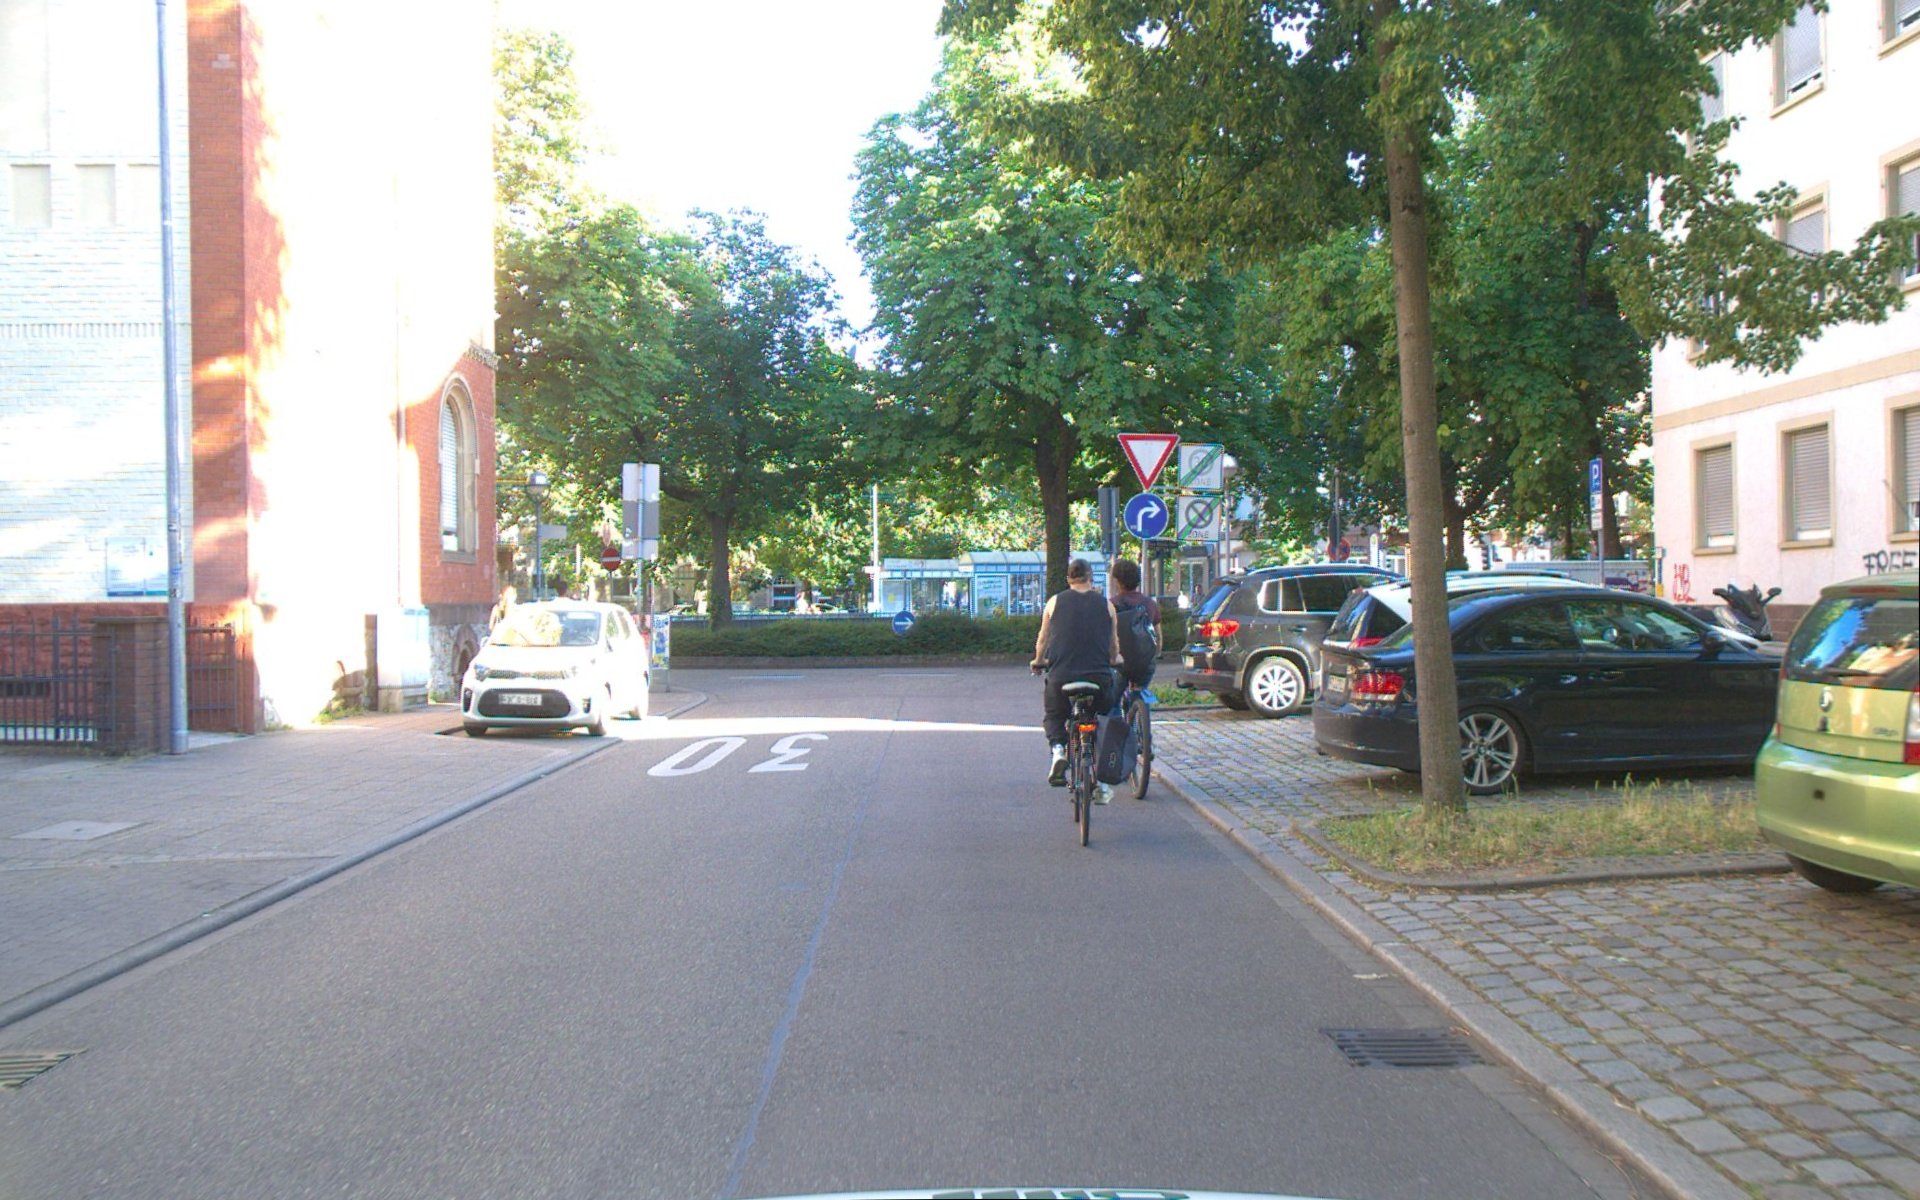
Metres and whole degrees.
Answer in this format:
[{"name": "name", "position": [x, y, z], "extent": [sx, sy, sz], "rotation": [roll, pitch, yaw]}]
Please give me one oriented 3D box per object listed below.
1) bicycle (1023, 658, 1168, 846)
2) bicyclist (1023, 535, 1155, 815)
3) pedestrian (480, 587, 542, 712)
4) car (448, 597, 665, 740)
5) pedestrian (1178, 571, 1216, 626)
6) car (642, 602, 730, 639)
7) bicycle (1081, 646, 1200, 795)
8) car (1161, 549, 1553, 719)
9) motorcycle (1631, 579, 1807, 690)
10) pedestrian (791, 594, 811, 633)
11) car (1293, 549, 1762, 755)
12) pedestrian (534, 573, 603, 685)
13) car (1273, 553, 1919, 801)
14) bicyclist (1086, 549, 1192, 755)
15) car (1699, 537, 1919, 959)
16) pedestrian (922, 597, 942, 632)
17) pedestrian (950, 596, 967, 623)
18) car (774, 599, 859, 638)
[{"name": "bicycle", "position": [0.835, 0.925, 10.706], "extent": [0.722, 1.030, 2.061], "rotation": [1, -1, -1]}, {"name": "bicyclist", "position": [0.814, 0.461, 10.668], "extent": [0.737, 1.711, 0.913], "rotation": [-1, 0, -1]}, {"name": "pedestrian", "position": [-6.020, 0.647, 22.222], "extent": [0.587, 1.633, 0.855], "rotation": [-1, 0, -1]}, {"name": "car", "position": [-4.694, 0.744, 19.766], "extent": [1.670, 1.511, 3.796], "rotation": [1, 0, -1]}, {"name": "pedestrian", "position": [7.459, -0.038, 52.020], "extent": [0.880, 1.713, 0.817], "rotation": [-1, 0, 33]}, {"name": "car", "position": [-13.415, 1.008, 81.077], "extent": [3.920, 1.709, 1.922], "rotation": [-1, 0, -45]}, {"name": "bicycle", "position": [1.399, 0.908, 13.142], "extent": [0.660, 1.072, 2.060], "rotation": [-1, -1, -1]}, {"name": "car", "position": [4.581, 0.359, 19.487], "extent": [4.026, 1.742, 2.022], "rotation": [-2, 1, -5]}, {"name": "motorcycle", "position": [9.524, 0.406, 20.860], "extent": [0.957, 1.302, 2.178], "rotation": [-1, 0, -9]}, {"name": "pedestrian", "position": [-7.063, 0.598, 73.611], "extent": [0.692, 1.724, 0.666], "rotation": [1, 0, -23]}, {"name": "car", "position": [4.935, 0.439, 14.769], "extent": [3.616, 1.680, 1.705], "rotation": [-1, 0, 2]}, {"name": "pedestrian", "position": [-5.986, 0.433, 25.325], "extent": [0.849, 1.672, 0.860], "rotation": [-1, 0, -1]}, {"name": "car", "position": [4.527, 0.520, 12.187], "extent": [4.022, 1.436, 1.792], "rotation": [-4, 0, -1]}, {"name": "bicyclist", "position": [1.392, 0.400, 13.020], "extent": [0.658, 1.541, 1.068], "rotation": [-1, -1, -2]}, {"name": "car", "position": [5.222, 0.451, 6.869], "extent": [3.516, 1.531, 1.678], "rotation": [-3, 1, 0]}, {"name": "pedestrian", "position": [-1.296, 0.652, 76.267], "extent": [0.795, 1.570, 0.818], "rotation": [1, 0, -12]}, {"name": "pedestrian", "position": [-0.111, 0.572, 103.563], "extent": [0.980, 1.659, 1.064], "rotation": [-1, 0, -2]}, {"name": "car", "position": [-7.413, 0.930, 85.329], "extent": [3.939, 1.903, 1.983], "rotation": [-1, 0, -27]}]
